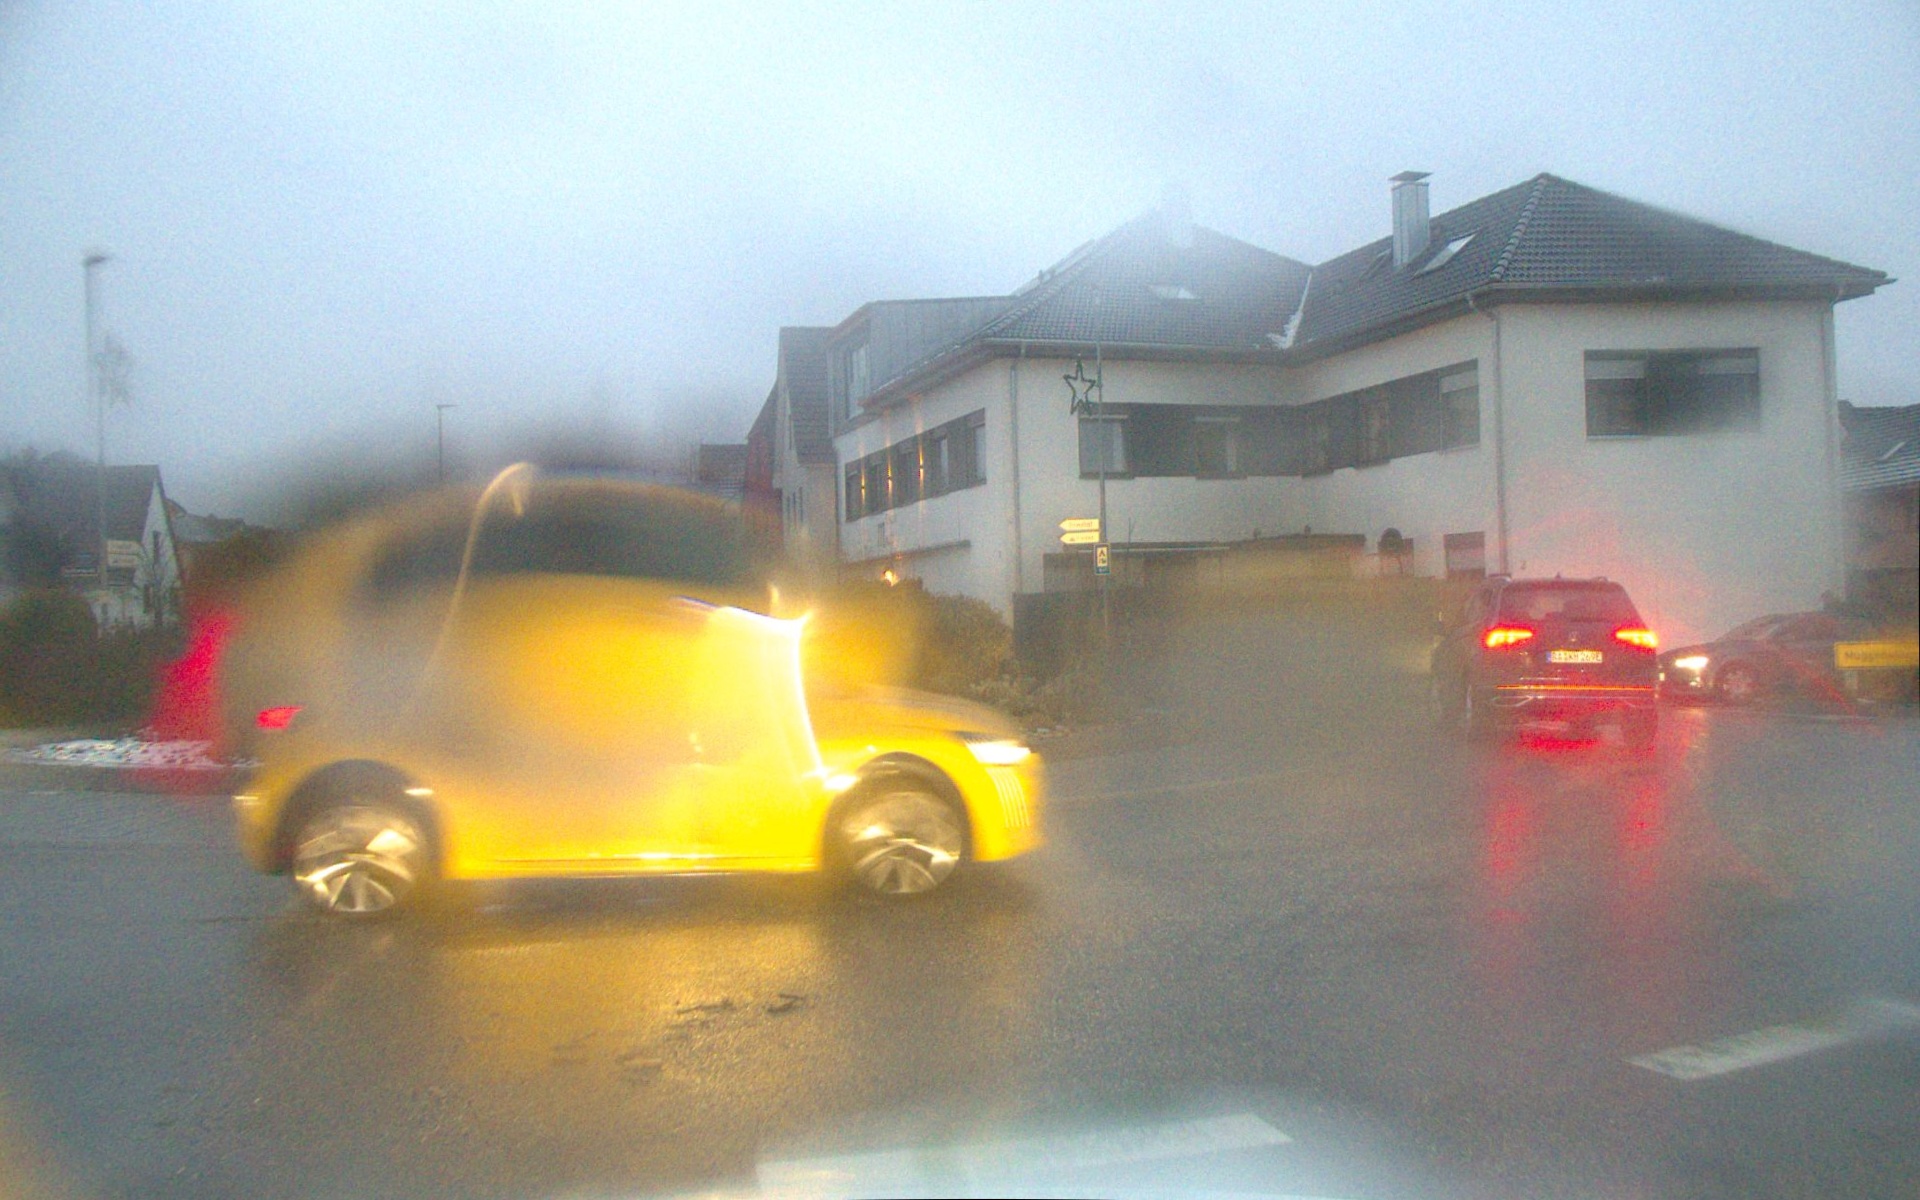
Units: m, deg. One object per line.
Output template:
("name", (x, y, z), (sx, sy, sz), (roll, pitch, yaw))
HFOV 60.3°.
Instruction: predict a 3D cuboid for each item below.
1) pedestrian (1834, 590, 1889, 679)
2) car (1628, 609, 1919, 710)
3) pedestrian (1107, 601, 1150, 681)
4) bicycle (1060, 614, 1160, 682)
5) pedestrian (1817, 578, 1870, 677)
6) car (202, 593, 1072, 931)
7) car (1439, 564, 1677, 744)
("pedestrian", (16.882, 0.635, 30.980), (0.700, 1.649, 0.583), (-1, 0, 6))
("car", (12.621, 0.919, 25.191), (4.133, 1.408, 1.851), (-1, -3, 3))
("pedestrian", (3.412, 0.823, 33.438), (0.676, 1.592, 0.610), (-1, 0, 25))
("bicycle", (3.004, 0.958, 33.206), (1.898, 1.318, 0.551), (-1, 1, 25))
("pedestrian", (17.052, 0.522, 31.926), (0.700, 1.864, 0.638), (-1, 1, 6))
("car", (-1.500, 0.722, 8.445), (3.921, 1.446, 1.714), (-1, 0, -5))
("car", (6.188, 0.548, 17.541), (1.875, 1.643, 3.953), (-2, -1, 13))
